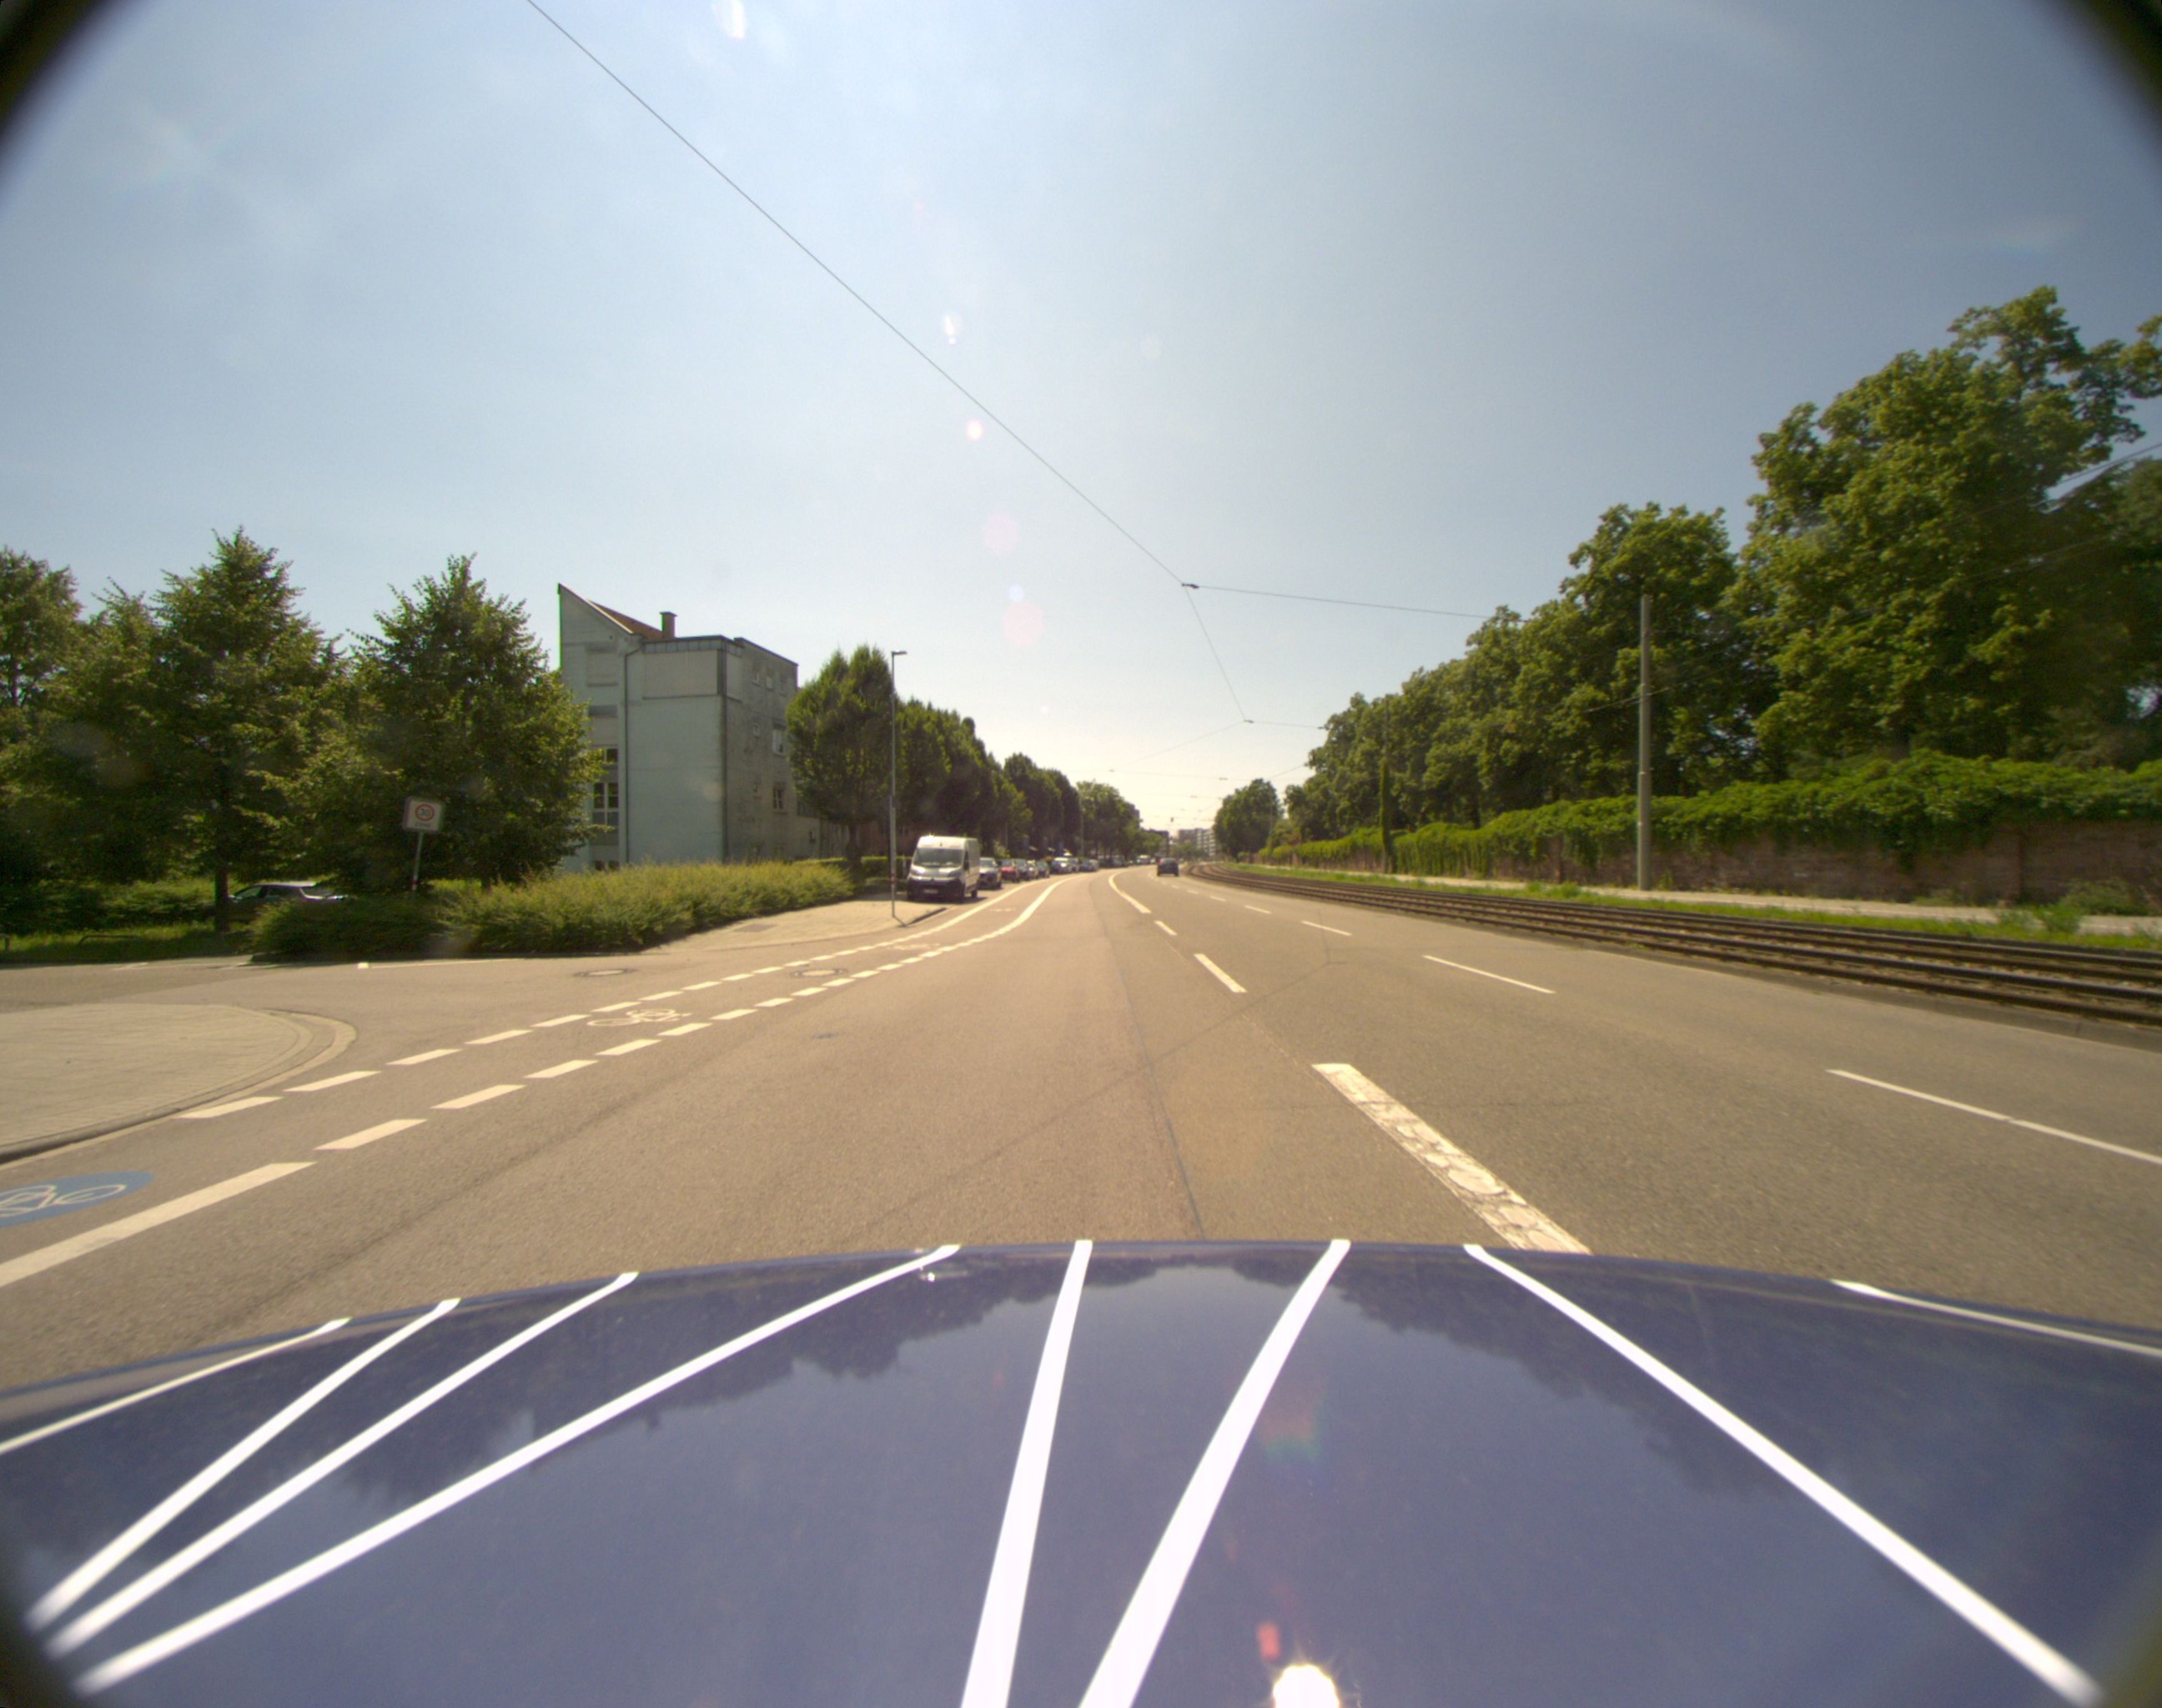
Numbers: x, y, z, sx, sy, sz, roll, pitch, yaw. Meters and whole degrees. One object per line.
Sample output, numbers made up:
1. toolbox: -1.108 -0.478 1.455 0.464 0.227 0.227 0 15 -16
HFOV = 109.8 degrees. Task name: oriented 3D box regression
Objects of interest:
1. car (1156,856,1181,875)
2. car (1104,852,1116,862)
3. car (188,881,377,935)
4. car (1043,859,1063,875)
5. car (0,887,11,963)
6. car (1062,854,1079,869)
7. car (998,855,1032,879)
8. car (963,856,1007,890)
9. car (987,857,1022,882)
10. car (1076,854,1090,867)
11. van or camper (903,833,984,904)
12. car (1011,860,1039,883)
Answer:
1. car: 7.164 0.900 62.498 1.696 1.460 4.000 -1 0 2
2. car: 4.940 0.487 130.418 1.998 1.718 4.000 -1 0 1
3. car: -25.138 1.678 24.001 4.221 1.512 2.001 -1 0 8
4. car: -2.839 1.354 78.571 1.725 1.586 4.001 -1 0 3
5. car: -26.093 1.605 16.510 3.992 1.677 2.002 -1 0 15
6. car: -1.227 0.888 90.467 1.907 1.707 4.000 -1 0 1
7. car: -4.761 0.918 55.353 1.998 1.652 4.000 -1 0 1
8. car: -4.917 0.953 39.383 1.828 1.624 3.999 1 0 -2
9. car: -4.994 0.985 50.014 1.813 1.543 4.000 -1 0 2
10. car: 0.247 0.845 98.591 1.807 1.585 4.000 -1 0 1
11. van or camper: -5.244 0.500 29.915 2.126 2.469 5.993 2 0 -1
12. car: -4.449 1.370 60.700 1.906 1.652 4.000 -1 0 1
